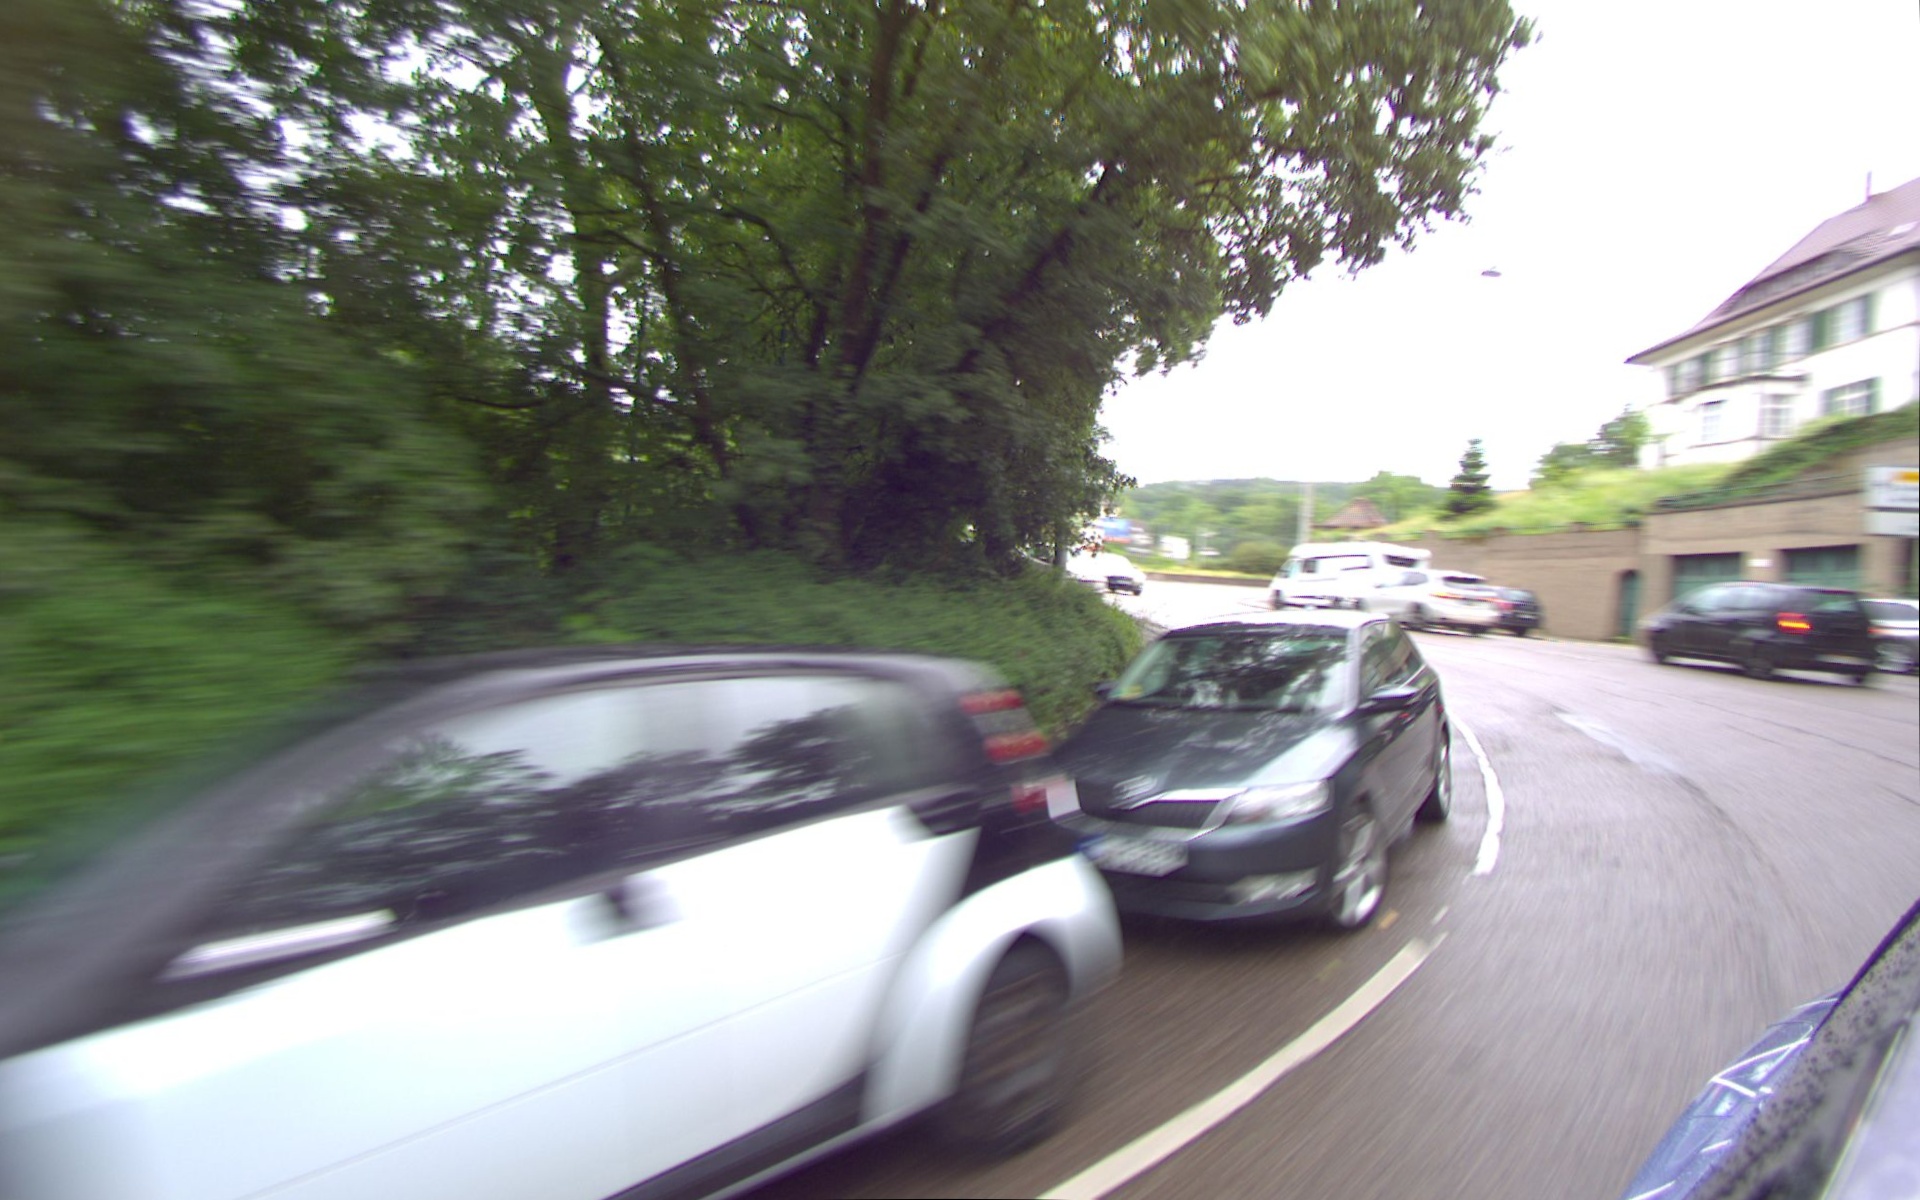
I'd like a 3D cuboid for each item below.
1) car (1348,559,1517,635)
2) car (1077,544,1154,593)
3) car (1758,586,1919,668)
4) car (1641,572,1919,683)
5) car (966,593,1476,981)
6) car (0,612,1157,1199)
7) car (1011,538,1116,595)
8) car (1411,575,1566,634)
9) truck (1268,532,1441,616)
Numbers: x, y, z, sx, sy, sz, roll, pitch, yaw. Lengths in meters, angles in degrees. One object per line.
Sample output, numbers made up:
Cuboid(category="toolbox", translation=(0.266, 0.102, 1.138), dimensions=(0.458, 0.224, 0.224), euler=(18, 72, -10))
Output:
Cuboid(category="car", translation=(12.122, -0.147, 26.301), dimensions=(1.784, 1.591, 4.091), euler=(4, 3, -11))
Cuboid(category="car", translation=(5.650, -1.114, 37.301), dimensions=(1.800, 1.588, 3.949), euler=(4, 0, -5))
Cuboid(category="car", translation=(18.405, 0.530, 19.970), dimensions=(1.723, 1.430, 4.114), euler=(3, 2, -6))
Cuboid(category="car", translation=(13.346, 0.351, 16.776), dimensions=(1.607, 1.508, 3.736), euler=(2, 3, 2))
Cuboid(category="car", translation=(1.850, 0.744, 6.075), dimensions=(1.669, 1.448, 3.937), euler=(-2, 0, 35))
Cuboid(category="car", translation=(-1.322, 0.832, 2.639), dimensions=(3.636, 1.465, 1.661), euler=(-2, -1, -40))
Cuboid(category="car", translation=(3.010, -1.036, 30.222), dimensions=(1.641, 1.545, 3.769), euler=(1, 3, -19))
Cuboid(category="car", translation=(16.155, 0.087, 31.156), dimensions=(1.806, 1.357, 4.011), euler=(6, 2, -17))
Cuboid(category="truck", translation=(14.401, -0.996, 37.583), dimensions=(2.394, 2.710, 6.477), euler=(3, 1, -16))
